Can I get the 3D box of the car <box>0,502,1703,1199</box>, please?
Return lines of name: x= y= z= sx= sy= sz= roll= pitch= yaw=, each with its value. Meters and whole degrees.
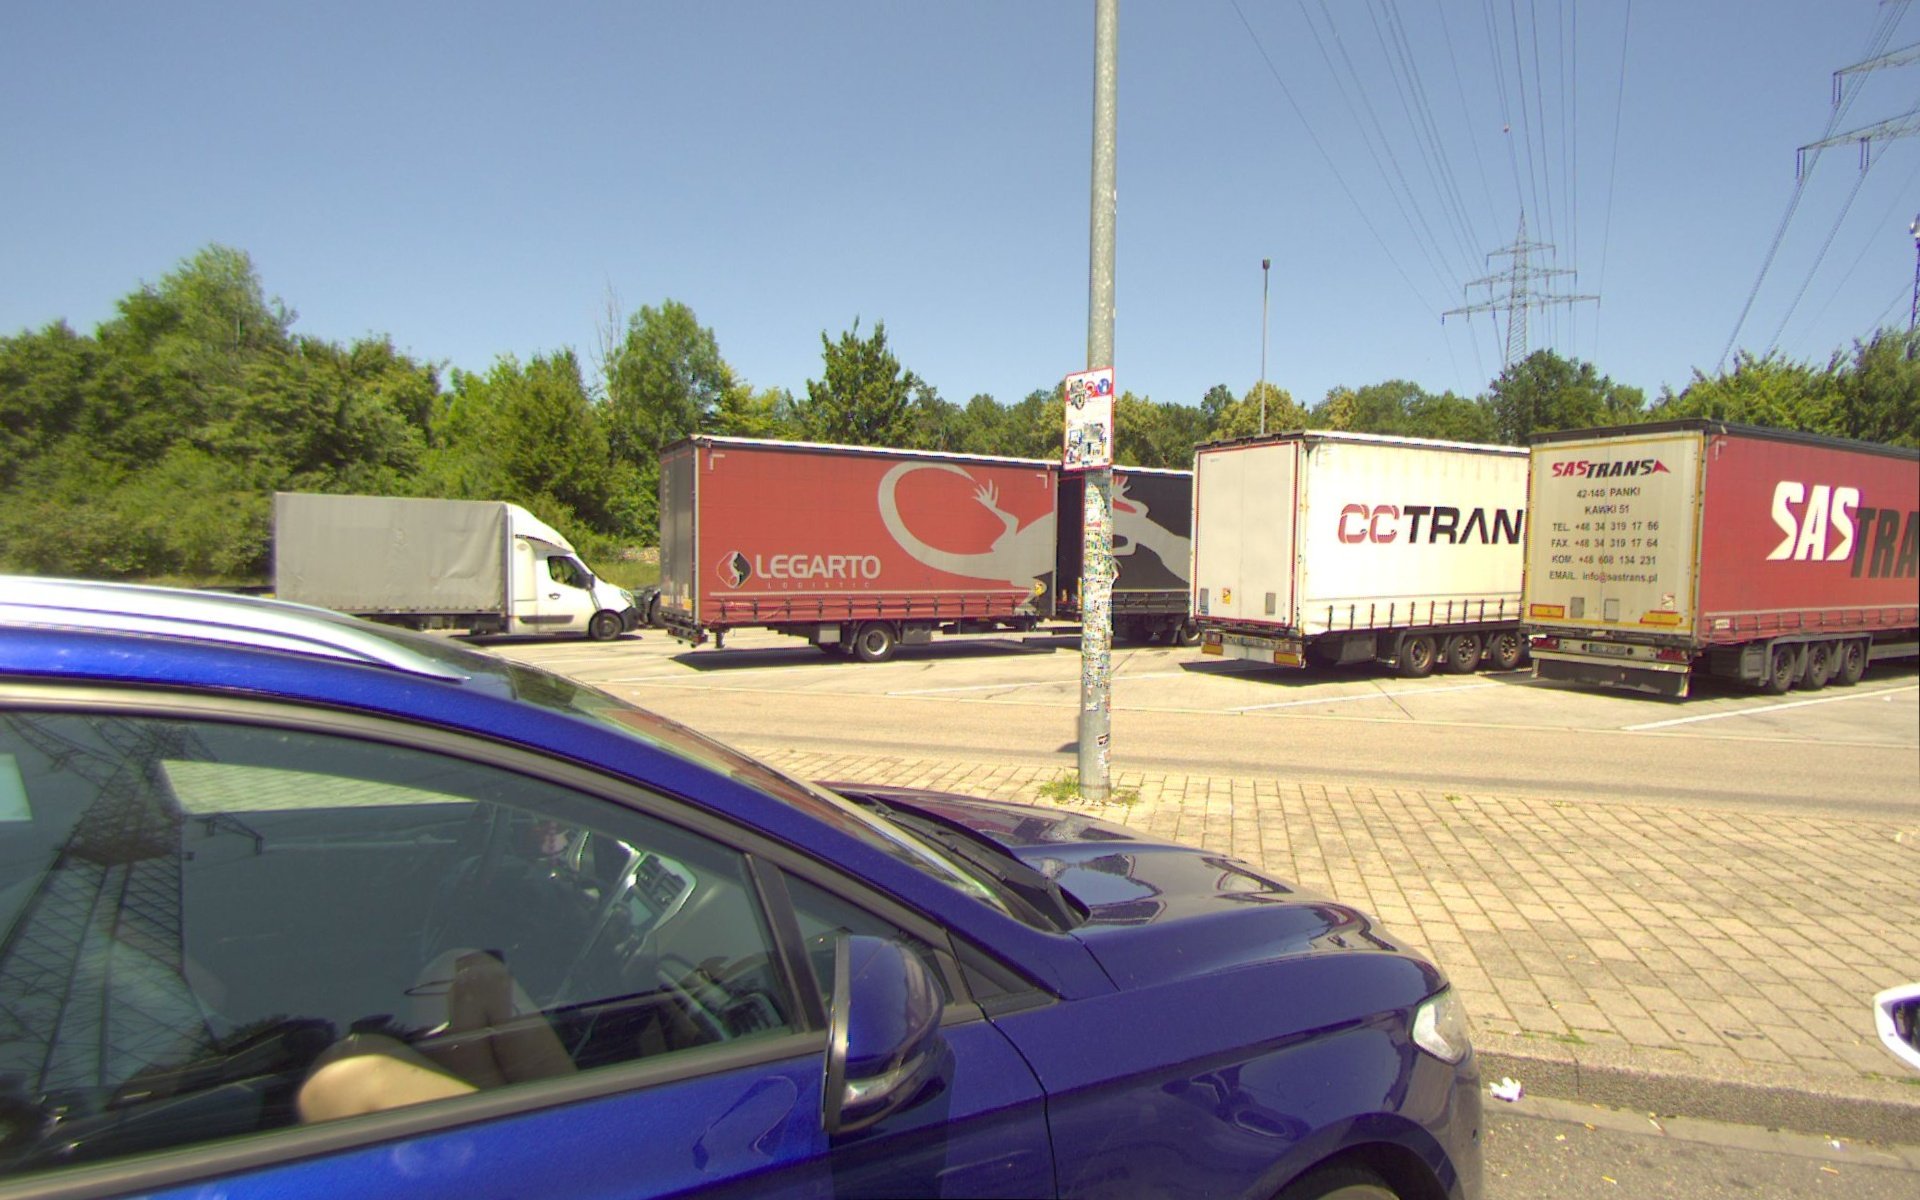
car: x=-0.968 y=0.656 z=1.467 sx=4.522 sy=1.491 sz=1.743 roll=0 pitch=2 yaw=-32

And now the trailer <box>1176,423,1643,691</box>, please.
trailer: x=8.975 y=-0.770 z=19.360 sx=10.264 sy=4.158 sz=2.693 roll=-1 pitch=3 yaw=-30

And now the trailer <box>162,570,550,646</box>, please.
trailer: x=-14.747 y=0.107 z=25.248 sx=8.007 sy=1.648 sz=2.199 roll=-1 pitch=3 yaw=-30

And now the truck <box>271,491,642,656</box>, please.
truck: x=-11.236 y=-0.620 z=23.009 sx=7.187 sy=3.289 sz=2.694 roll=-1 pitch=3 yaw=-29

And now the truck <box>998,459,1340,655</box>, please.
truck: x=5.274 y=-0.999 z=24.554 sx=8.586 sy=4.127 sz=2.693 roll=-1 pitch=3 yaw=-30

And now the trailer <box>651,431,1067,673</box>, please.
trailer: x=-1.879 y=-0.902 z=20.345 sx=8.007 sy=4.127 sz=2.693 roll=-1 pitch=3 yaw=-30

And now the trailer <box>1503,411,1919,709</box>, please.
trailer: x=15.469 y=-0.677 z=18.626 sx=13.599 sy=4.127 sz=2.807 roll=-1 pitch=3 yaw=-31

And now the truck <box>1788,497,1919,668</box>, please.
truck: x=21.261 y=-0.406 z=22.063 sx=5.903 sy=3.409 sz=2.798 roll=-1 pitch=3 yaw=-30

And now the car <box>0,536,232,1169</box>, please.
car: x=-4.410 y=0.583 z=2.104 sx=4.522 sy=1.526 sz=1.743 roll=0 pitch=2 yaw=-32
